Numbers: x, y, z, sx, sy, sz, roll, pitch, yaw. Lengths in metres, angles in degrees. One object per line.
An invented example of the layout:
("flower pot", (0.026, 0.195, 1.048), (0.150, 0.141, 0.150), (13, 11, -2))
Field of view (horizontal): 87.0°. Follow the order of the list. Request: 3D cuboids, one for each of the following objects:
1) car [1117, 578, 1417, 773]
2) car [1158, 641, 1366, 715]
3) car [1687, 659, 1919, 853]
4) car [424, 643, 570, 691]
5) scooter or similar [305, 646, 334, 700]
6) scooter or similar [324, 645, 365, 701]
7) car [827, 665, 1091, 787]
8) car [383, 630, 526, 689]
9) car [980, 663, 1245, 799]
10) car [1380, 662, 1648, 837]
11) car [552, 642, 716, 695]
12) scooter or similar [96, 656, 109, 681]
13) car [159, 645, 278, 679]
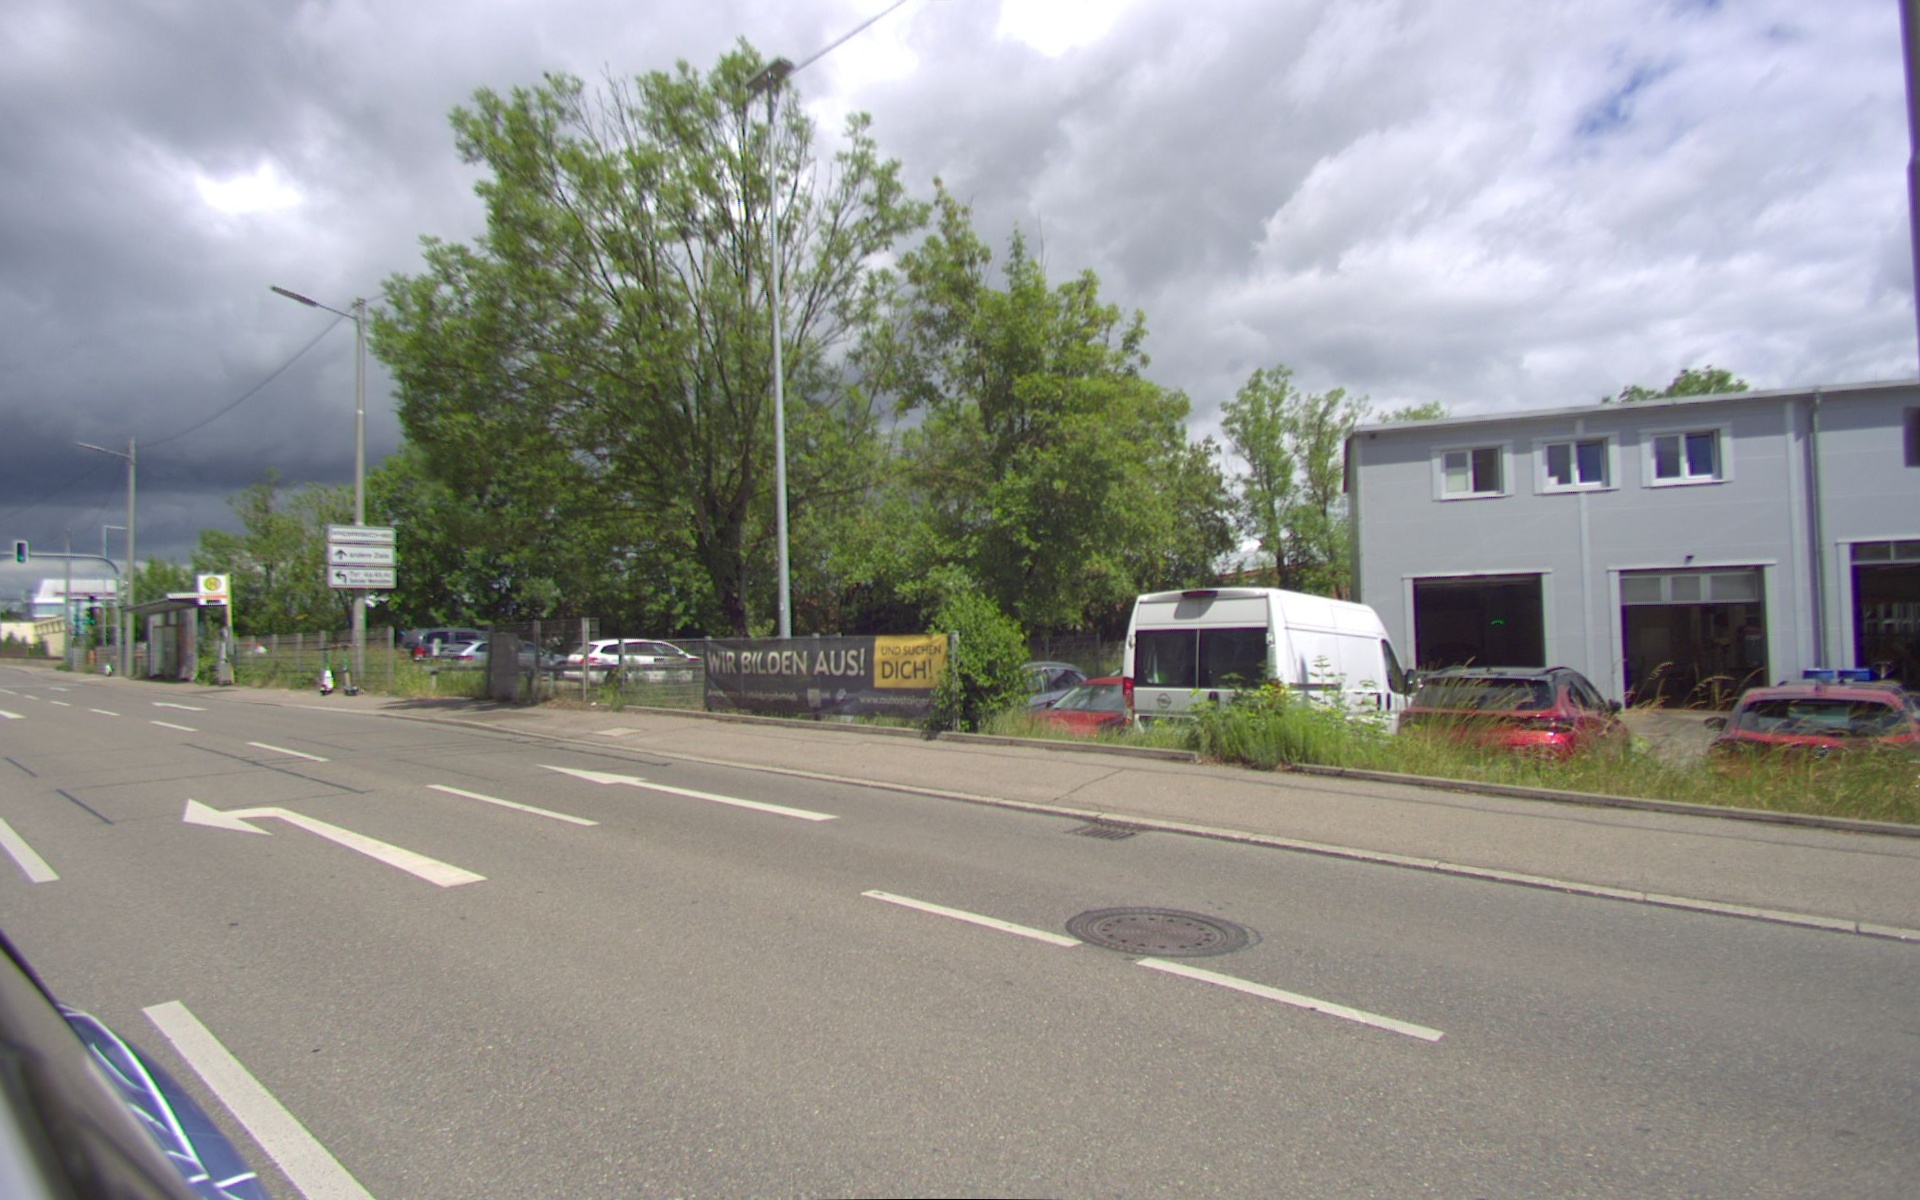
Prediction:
("car", (4.028, 0.847, 12.853), (2.196, 2.029, 4.119), (-3, -3, 39))
("car", (7.801, 1.978, 26.522), (4.916, 1.742, 1.816), (-3, -3, 44))
("car", (8.859, 1.398, 10.166), (1.929, 1.397, 3.987), (-1, -1, 45))
("car", (-15.928, 2.256, 35.024), (1.905, 1.498, 4.241), (-2, -2, 33))
("scooter or similar", (-15.820, 1.785, 25.020), (0.527, 1.272, 1.476), (-2, -1, -31))
("scooter or similar", (-14.649, 1.717, 24.085), (0.528, 1.275, 1.473), (-1, -1, -43))
("car", (0.086, 1.820, 15.692), (1.928, 1.397, 3.989), (-1, -1, 42))
("car", (-18.552, 2.135, 37.288), (2.136, 2.029, 4.240), (-2, -2, 34))
("car", (2.268, 1.701, 14.286), (1.927, 1.397, 3.992), (-1, -1, 40))
("car", (6.133, 1.479, 11.076), (1.728, 1.420, 3.299), (-1, -1, 45))
("car", (-9.512, 1.952, 29.717), (4.226, 1.391, 1.867), (1, -3, -44))
("scooter or similar", (-42.625, 3.416, 50.300), (0.419, 1.220, 1.127), (-1, -2, -43))
("car", (-35.012, 2.902, 47.844), (2.025, 1.430, 4.263), (-3, -3, 43))
